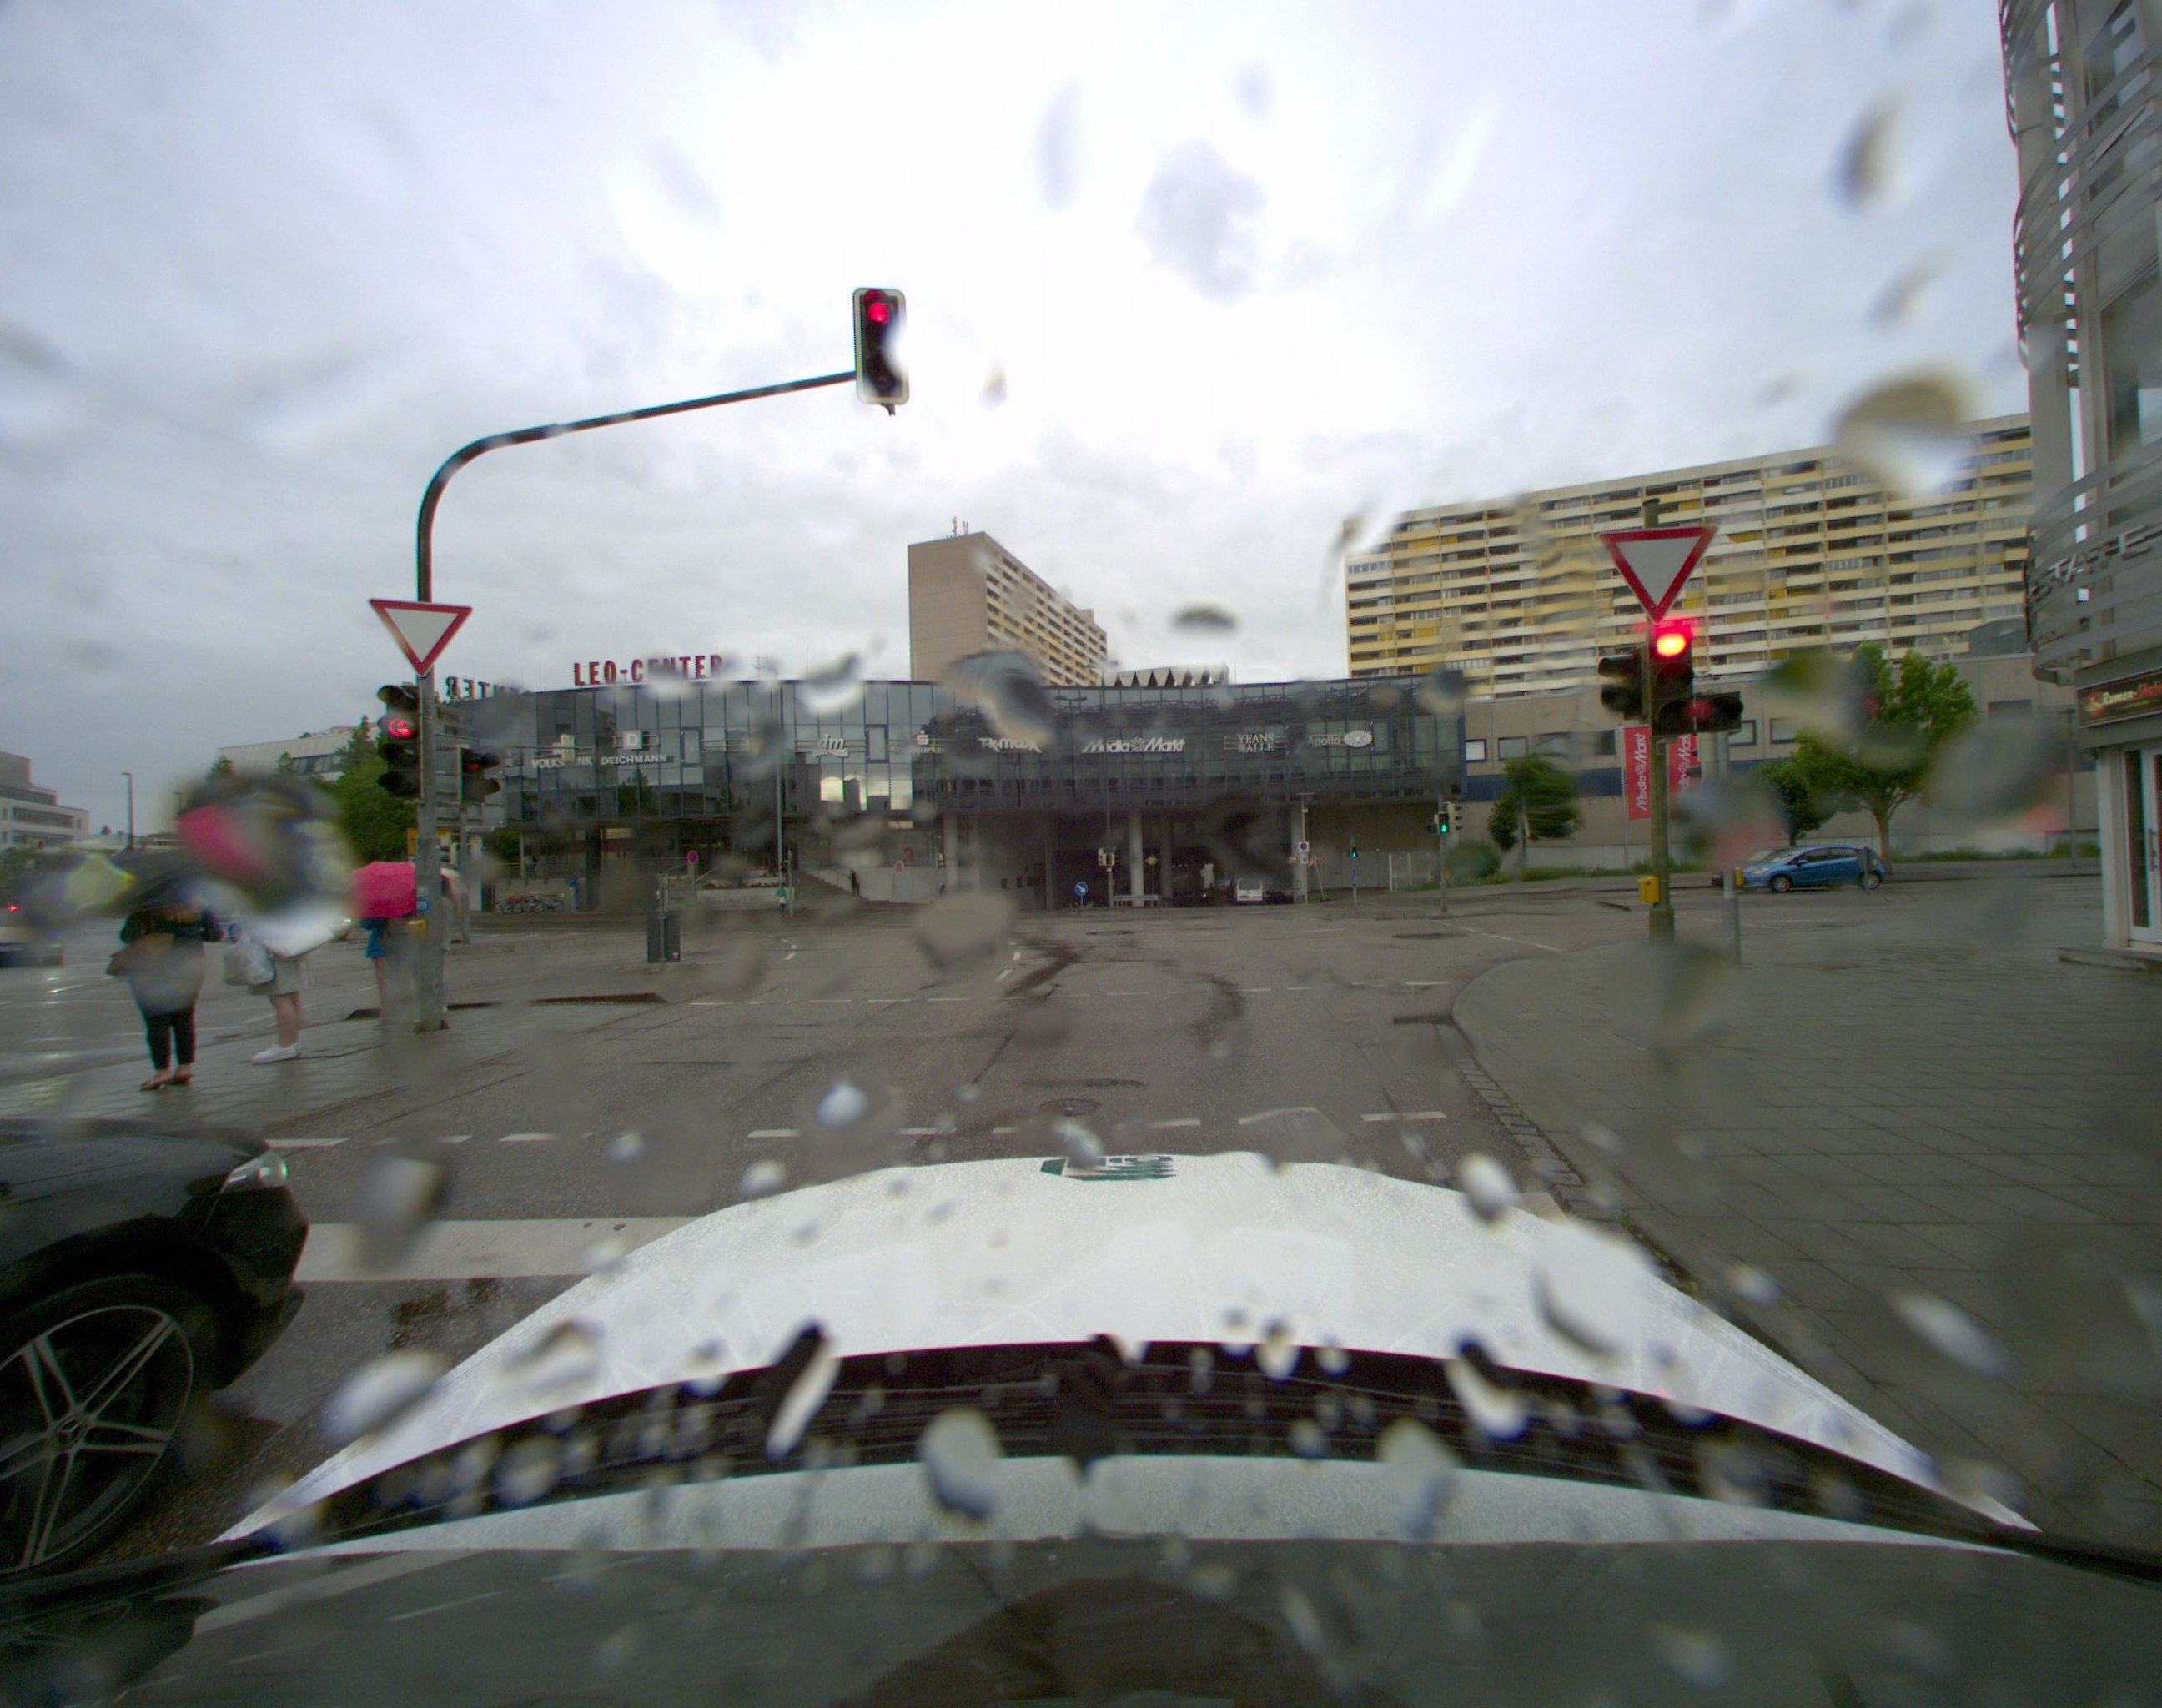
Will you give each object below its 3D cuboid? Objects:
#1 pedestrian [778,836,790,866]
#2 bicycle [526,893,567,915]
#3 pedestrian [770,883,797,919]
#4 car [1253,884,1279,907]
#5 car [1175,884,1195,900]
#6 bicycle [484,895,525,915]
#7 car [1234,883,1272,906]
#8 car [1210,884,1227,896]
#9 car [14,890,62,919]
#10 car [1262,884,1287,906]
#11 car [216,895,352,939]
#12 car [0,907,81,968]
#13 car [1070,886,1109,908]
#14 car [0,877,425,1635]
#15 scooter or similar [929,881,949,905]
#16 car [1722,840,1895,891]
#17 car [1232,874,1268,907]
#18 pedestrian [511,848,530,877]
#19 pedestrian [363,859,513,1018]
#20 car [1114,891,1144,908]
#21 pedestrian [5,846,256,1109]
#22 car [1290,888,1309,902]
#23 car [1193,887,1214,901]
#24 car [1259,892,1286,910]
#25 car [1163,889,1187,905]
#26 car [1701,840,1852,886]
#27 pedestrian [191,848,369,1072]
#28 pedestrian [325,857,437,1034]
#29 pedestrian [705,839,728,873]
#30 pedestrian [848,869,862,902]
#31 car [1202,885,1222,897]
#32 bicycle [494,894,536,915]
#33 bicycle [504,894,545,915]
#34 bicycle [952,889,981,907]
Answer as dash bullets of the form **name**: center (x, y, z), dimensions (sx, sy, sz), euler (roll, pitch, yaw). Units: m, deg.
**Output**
- **pedestrian**: center (-17.979, -0.154, 49.359), dimensions (0.633, 1.807, 0.501), euler (0, -1, -16)
- **bicycle**: center (-30.089, 2.813, 45.905), dimensions (0.625, 1.023, 1.864), euler (-3, 1, 20)
- **pedestrian**: center (-14.256, 2.240, 39.009), dimensions (0.947, 1.623, 0.808), euler (-2, -1, -3)
- **car**: center (13.832, 3.116, 60.760), dimensions (1.621, 1.612, 4.278), euler (-3, -4, 15)
- **car**: center (12.265, 4.509, 95.911), dimensions (1.823, 1.728, 4.014), euler (-2, -1, 13)
- **bicycle**: center (-33.073, 2.894, 46.765), dimensions (0.529, 0.951, 1.865), euler (-1, 2, 23)
- **car**: center (11.897, 2.833, 56.132), dimensions (1.742, 1.464, 3.963), euler (-3, -5, 23)
- **car**: center (19.327, 4.999, 114.250), dimensions (1.979, 1.464, 4.016), euler (-3, -2, 15)
- **car**: center (-75.160, 3.629, 58.689), dimensions (4.085, 1.896, 2.062), euler (-1, -1, 38)
- **car**: center (16.805, 3.543, 70.594), dimensions (1.777, 1.771, 4.017), euler (-3, -2, 17)
- **car**: center (-28.842, 2.262, 29.498), dimensions (3.949, 1.441, 1.754), euler (-2, -1, 16)
- **car**: center (-28.175, 2.162, 21.099), dimensions (5.079, 1.414, 2.136), euler (-3, -2, 31)
- **car**: center (0.681, 3.331, 62.619), dimensions (1.877, 1.470, 4.044), euler (-2, -5, 18)
- **car**: center (-2.999, 0.831, 0.617), dimensions (1.657, 1.481, 4.094), euler (0, 0, 0)
- **scooter or similar**: center (-8.470, 2.326, 48.540), dimensions (1.167, 1.373, 0.487), euler (0, -1, -13)
- **car**: center (23.439, 0.386, 26.383), dimensions (3.819, 1.397, 1.684), euler (-3, -2, 10)
- **car**: center (10.110, 2.150, 48.515), dimensions (1.912, 1.798, 4.310), euler (-2, -3, 13)
- **pedestrian**: center (-33.424, 0.513, 48.565), dimensions (0.592, 1.714, 0.658), euler (-1, -1, 25)
- **pedestrian**: center (-7.264, 0.918, 9.246), dimensions (0.932, 1.677, 0.917), euler (-2, -1, 1)
- **car**: center (4.432, 4.118, 74.431), dimensions (1.756, 1.464, 3.892), euler (-3, -4, 17)
- **pedestrian**: center (-6.982, 0.838, 6.057), dimensions (0.956, 1.736, 0.829), euler (-2, -2, -28)
- **car**: center (24.283, 4.553, 90.424), dimensions (1.874, 1.491, 3.856), euler (-1, -1, 16)
- **car**: center (15.260, 4.958, 101.621), dimensions (1.978, 1.664, 4.018), euler (-1, -1, 17)
- **car**: center (15.482, 3.798, 65.709), dimensions (1.765, 1.400, 4.017), euler (-3, -4, 17)
- **car**: center (10.525, 4.786, 91.143), dimensions (1.899, 1.588, 3.957), euler (-3, -2, 17)
- **car**: center (24.855, 0.325, 29.238), dimensions (3.660, 1.395, 1.750), euler (-3, -2, 11)
- **pedestrian**: center (-6.897, 0.840, 7.014), dimensions (1.123, 1.744, 0.865), euler (-3, -1, 34)
- **pedestrian**: center (-7.214, 0.899, 8.395), dimensions (0.665, 1.685, 0.811), euler (-4, -2, 45)
- **pedestrian**: center (-21.731, 0.118, 48.618), dimensions (0.940, 2.014, 0.837), euler (-1, -1, 28)
- **pedestrian**: center (-13.129, 1.814, 47.283), dimensions (0.655, 1.908, 0.593), euler (-1, -1, -6)
- **car**: center (17.612, 4.943, 109.206), dimensions (1.978, 1.464, 4.018), euler (-3, -2, 17)
- **bicycle**: center (-32.387, 2.882, 46.627), dimensions (0.621, 1.033, 1.865), euler (-3, 1, 20)
- **bicycle**: center (-31.677, 2.869, 46.383), dimensions (0.640, 1.042, 1.865), euler (-3, 1, 20)
- **bicycle**: center (-6.886, 2.645, 48.987), dimensions (1.591, 1.018, 0.448), euler (5, -3, -29)
